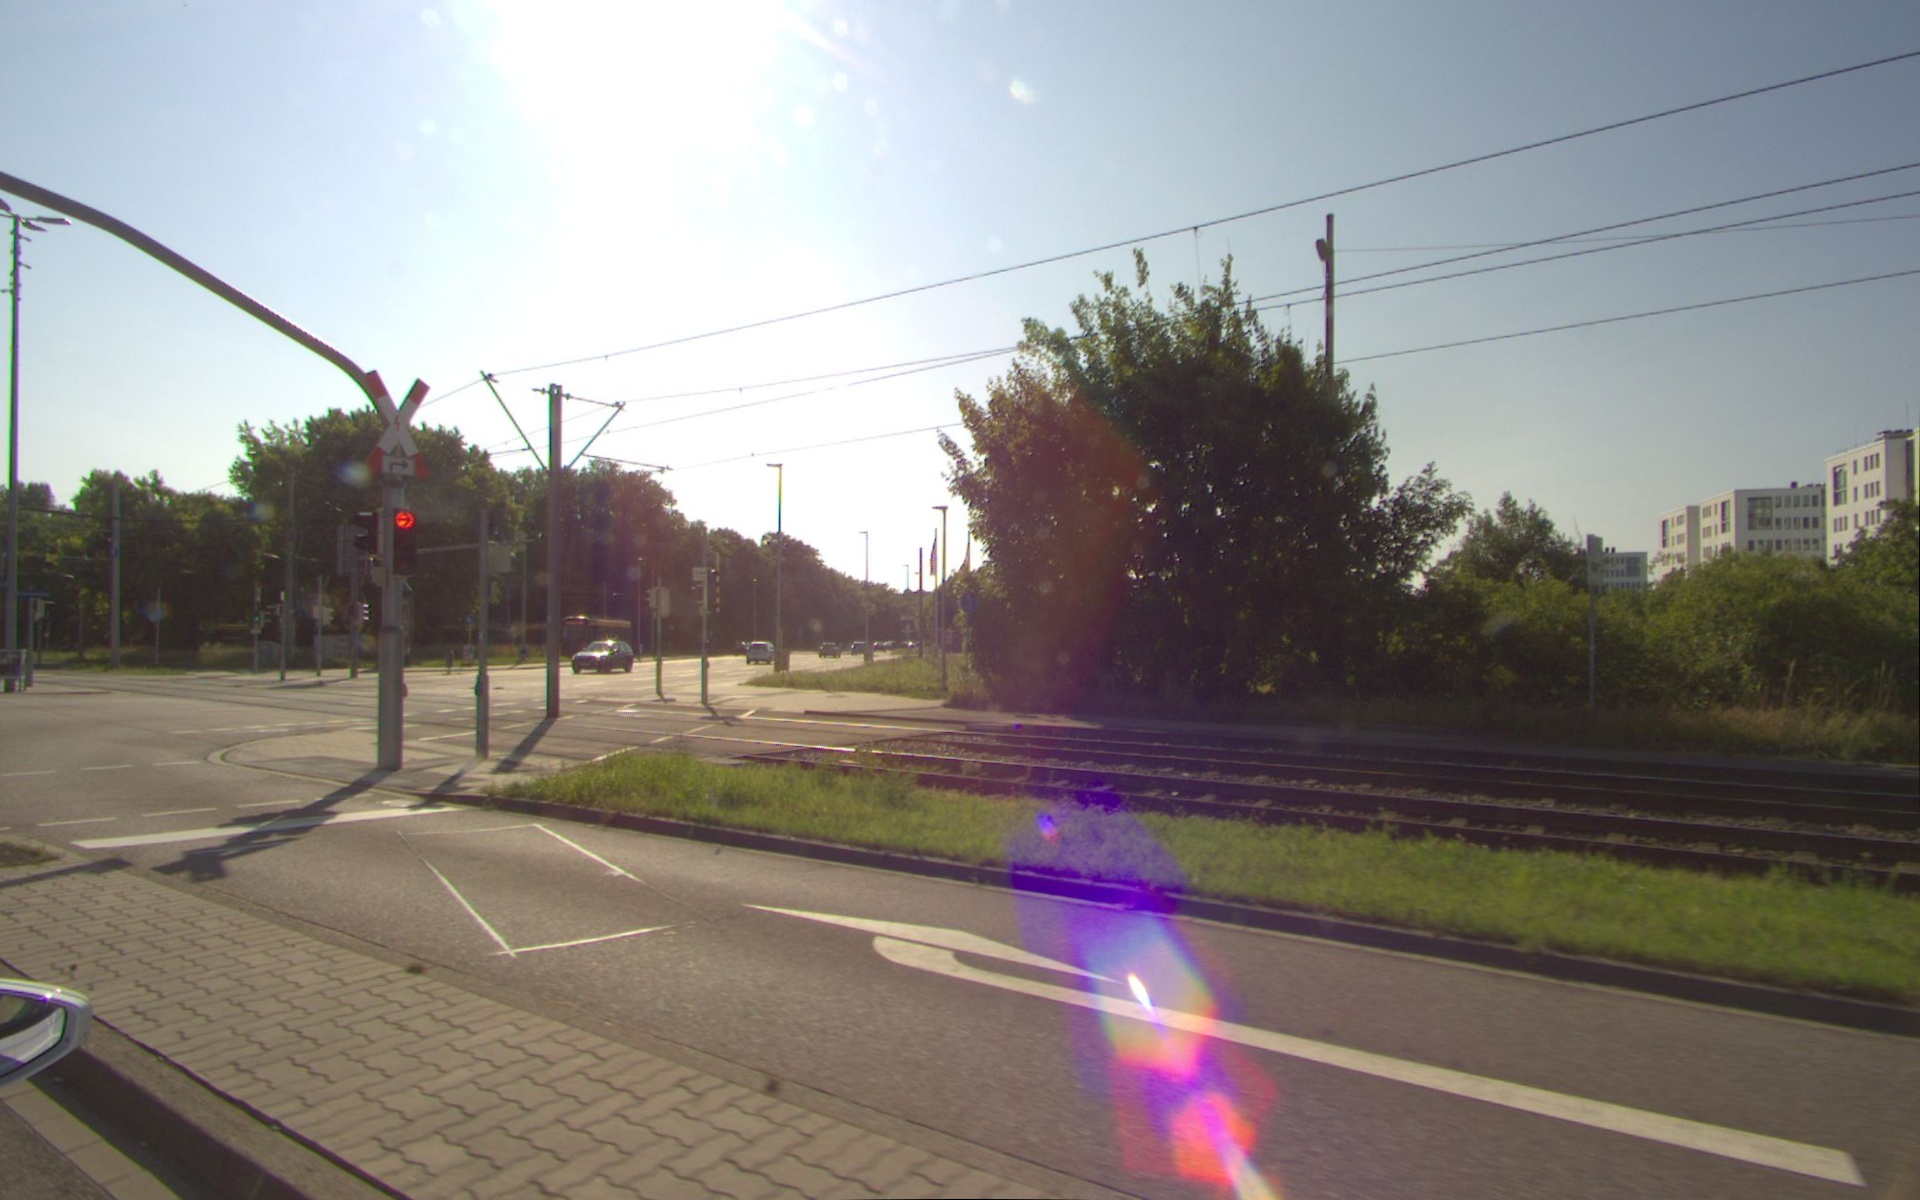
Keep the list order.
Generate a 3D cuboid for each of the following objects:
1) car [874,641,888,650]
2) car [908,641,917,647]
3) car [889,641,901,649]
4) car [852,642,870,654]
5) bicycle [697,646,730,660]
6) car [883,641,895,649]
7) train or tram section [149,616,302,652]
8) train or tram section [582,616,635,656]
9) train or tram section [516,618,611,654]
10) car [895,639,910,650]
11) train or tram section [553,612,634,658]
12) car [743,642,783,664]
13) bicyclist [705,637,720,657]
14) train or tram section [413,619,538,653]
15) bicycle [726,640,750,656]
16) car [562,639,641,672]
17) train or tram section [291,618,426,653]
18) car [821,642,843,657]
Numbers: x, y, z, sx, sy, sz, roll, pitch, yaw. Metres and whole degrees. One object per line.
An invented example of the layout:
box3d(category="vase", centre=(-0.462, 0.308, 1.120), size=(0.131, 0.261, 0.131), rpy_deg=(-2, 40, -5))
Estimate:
box3d(category="car", centre=(-11.993, 6.901, 152.309), size=(1.575, 1.401, 3.531), rpy_deg=(0, -2, 3))
box3d(category="car", centre=(-10.223, 9.528, 217.634), size=(1.575, 1.401, 3.531), rpy_deg=(0, -2, 3))
box3d(category="car", centre=(-11.615, 7.973, 178.993), size=(1.575, 1.401, 3.531), rpy_deg=(0, -2, 3))
box3d(category="car", centre=(-11.874, 5.769, 120.396), size=(1.575, 1.401, 3.531), rpy_deg=(0, -2, 3))
box3d(category="bicycle", centre=(-26.186, 5.584, 106.378), size=(3.168, 1.472, 1.131), rpy_deg=(0, -3, 10))
box3d(category="car", centre=(-11.974, 7.575, 169.110), size=(1.575, 1.401, 3.531), rpy_deg=(0, -2, 3))
box3d(category="train or tram section", centre=(-75.357, 3.553, 103.150), size=(12.250, 3.624, 3.043), rpy_deg=(1, -2, -26))
box3d(category="train or tram section", centre=(-34.063, 3.527, 96.720), size=(3.009, 3.624, 12.179), rpy_deg=(1, -2, -28))
box3d(category="train or tram section", centre=(-41.923, 3.806, 105.595), size=(12.063, 3.624, 3.038), rpy_deg=(-1, -2, 34))
box3d(category="car", centre=(-11.431, 8.769, 198.363), size=(2.397, 2.104, 4.790), rpy_deg=(0, -2, 3))
box3d(category="train or tram section", centre=(-30.910, 3.012, 85.101), size=(2.994, 3.624, 11.858), rpy_deg=(0, -2, -2))
box3d(category="car", centre=(-14.452, 3.854, 73.700), size=(1.820, 1.582, 4.206), rpy_deg=(0, -2, 5))
box3d(category="bicyclist", centre=(-26.298, 4.992, 106.413), size=(1.078, 2.038, 1.141), rpy_deg=(0, -3, 10))
box3d(category="train or tram section", centre=(-52.846, 3.967, 109.434), size=(11.992, 3.625, 3.056), rpy_deg=(0, -2, -1))
box3d(category="bicycle", centre=(-25.134, 5.455, 113.529), size=(2.562, 1.734, 0.796), rpy_deg=(1, -2, -3))
box3d(category="car", centre=(-18.490, 2.843, 51.903), size=(2.005, 1.583, 4.863), rpy_deg=(0, -2, 5))
box3d(category="train or tram section", centre=(-64.567, 3.834, 107.900), size=(12.027, 3.625, 3.047), rpy_deg=(1, -2, -21))
box3d(category="car", centre=(-12.927, 4.983, 100.898), size=(1.575, 1.401, 3.531), rpy_deg=(0, -2, 3))
